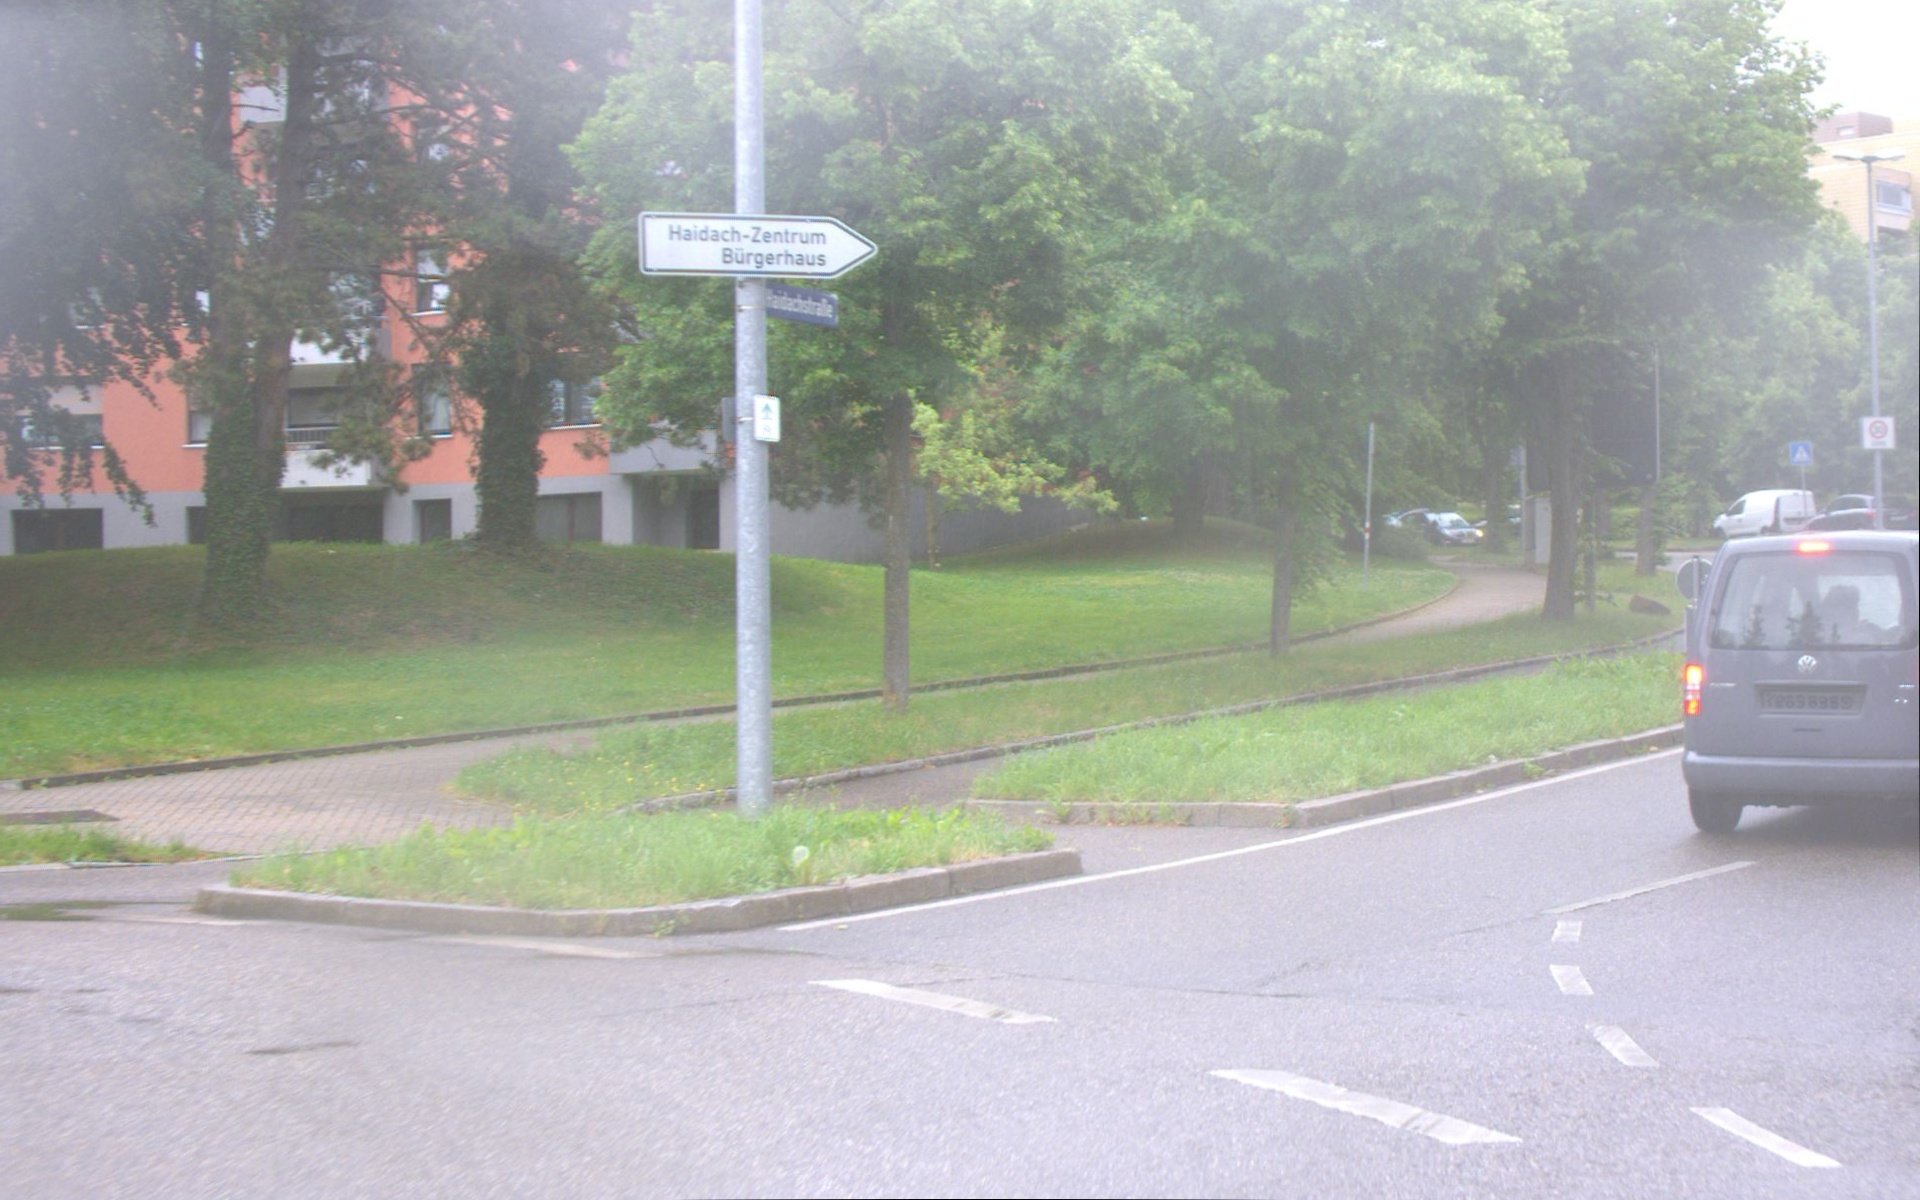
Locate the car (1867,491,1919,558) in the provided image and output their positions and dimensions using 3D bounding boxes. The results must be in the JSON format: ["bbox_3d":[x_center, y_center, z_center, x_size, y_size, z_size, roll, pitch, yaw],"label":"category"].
[{"bbox_3d":[28.674,-2.230,102.101,1.845,1.867,3.862,0,-1,-11],"label":"car"}]

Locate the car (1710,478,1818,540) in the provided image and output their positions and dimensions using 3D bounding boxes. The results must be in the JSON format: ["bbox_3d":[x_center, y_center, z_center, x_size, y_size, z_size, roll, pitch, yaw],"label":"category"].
[{"bbox_3d":[25.914,-2.910,110.915,1.993,1.867,4.001,0,-1,-9],"label":"car"}]

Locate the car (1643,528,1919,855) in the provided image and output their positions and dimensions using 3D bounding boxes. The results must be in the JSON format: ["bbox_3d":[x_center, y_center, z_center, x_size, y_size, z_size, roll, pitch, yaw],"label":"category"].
[{"bbox_3d":[5.705,0.484,21.449,1.921,1.795,3.785,-1,2,26],"label":"car"}]
